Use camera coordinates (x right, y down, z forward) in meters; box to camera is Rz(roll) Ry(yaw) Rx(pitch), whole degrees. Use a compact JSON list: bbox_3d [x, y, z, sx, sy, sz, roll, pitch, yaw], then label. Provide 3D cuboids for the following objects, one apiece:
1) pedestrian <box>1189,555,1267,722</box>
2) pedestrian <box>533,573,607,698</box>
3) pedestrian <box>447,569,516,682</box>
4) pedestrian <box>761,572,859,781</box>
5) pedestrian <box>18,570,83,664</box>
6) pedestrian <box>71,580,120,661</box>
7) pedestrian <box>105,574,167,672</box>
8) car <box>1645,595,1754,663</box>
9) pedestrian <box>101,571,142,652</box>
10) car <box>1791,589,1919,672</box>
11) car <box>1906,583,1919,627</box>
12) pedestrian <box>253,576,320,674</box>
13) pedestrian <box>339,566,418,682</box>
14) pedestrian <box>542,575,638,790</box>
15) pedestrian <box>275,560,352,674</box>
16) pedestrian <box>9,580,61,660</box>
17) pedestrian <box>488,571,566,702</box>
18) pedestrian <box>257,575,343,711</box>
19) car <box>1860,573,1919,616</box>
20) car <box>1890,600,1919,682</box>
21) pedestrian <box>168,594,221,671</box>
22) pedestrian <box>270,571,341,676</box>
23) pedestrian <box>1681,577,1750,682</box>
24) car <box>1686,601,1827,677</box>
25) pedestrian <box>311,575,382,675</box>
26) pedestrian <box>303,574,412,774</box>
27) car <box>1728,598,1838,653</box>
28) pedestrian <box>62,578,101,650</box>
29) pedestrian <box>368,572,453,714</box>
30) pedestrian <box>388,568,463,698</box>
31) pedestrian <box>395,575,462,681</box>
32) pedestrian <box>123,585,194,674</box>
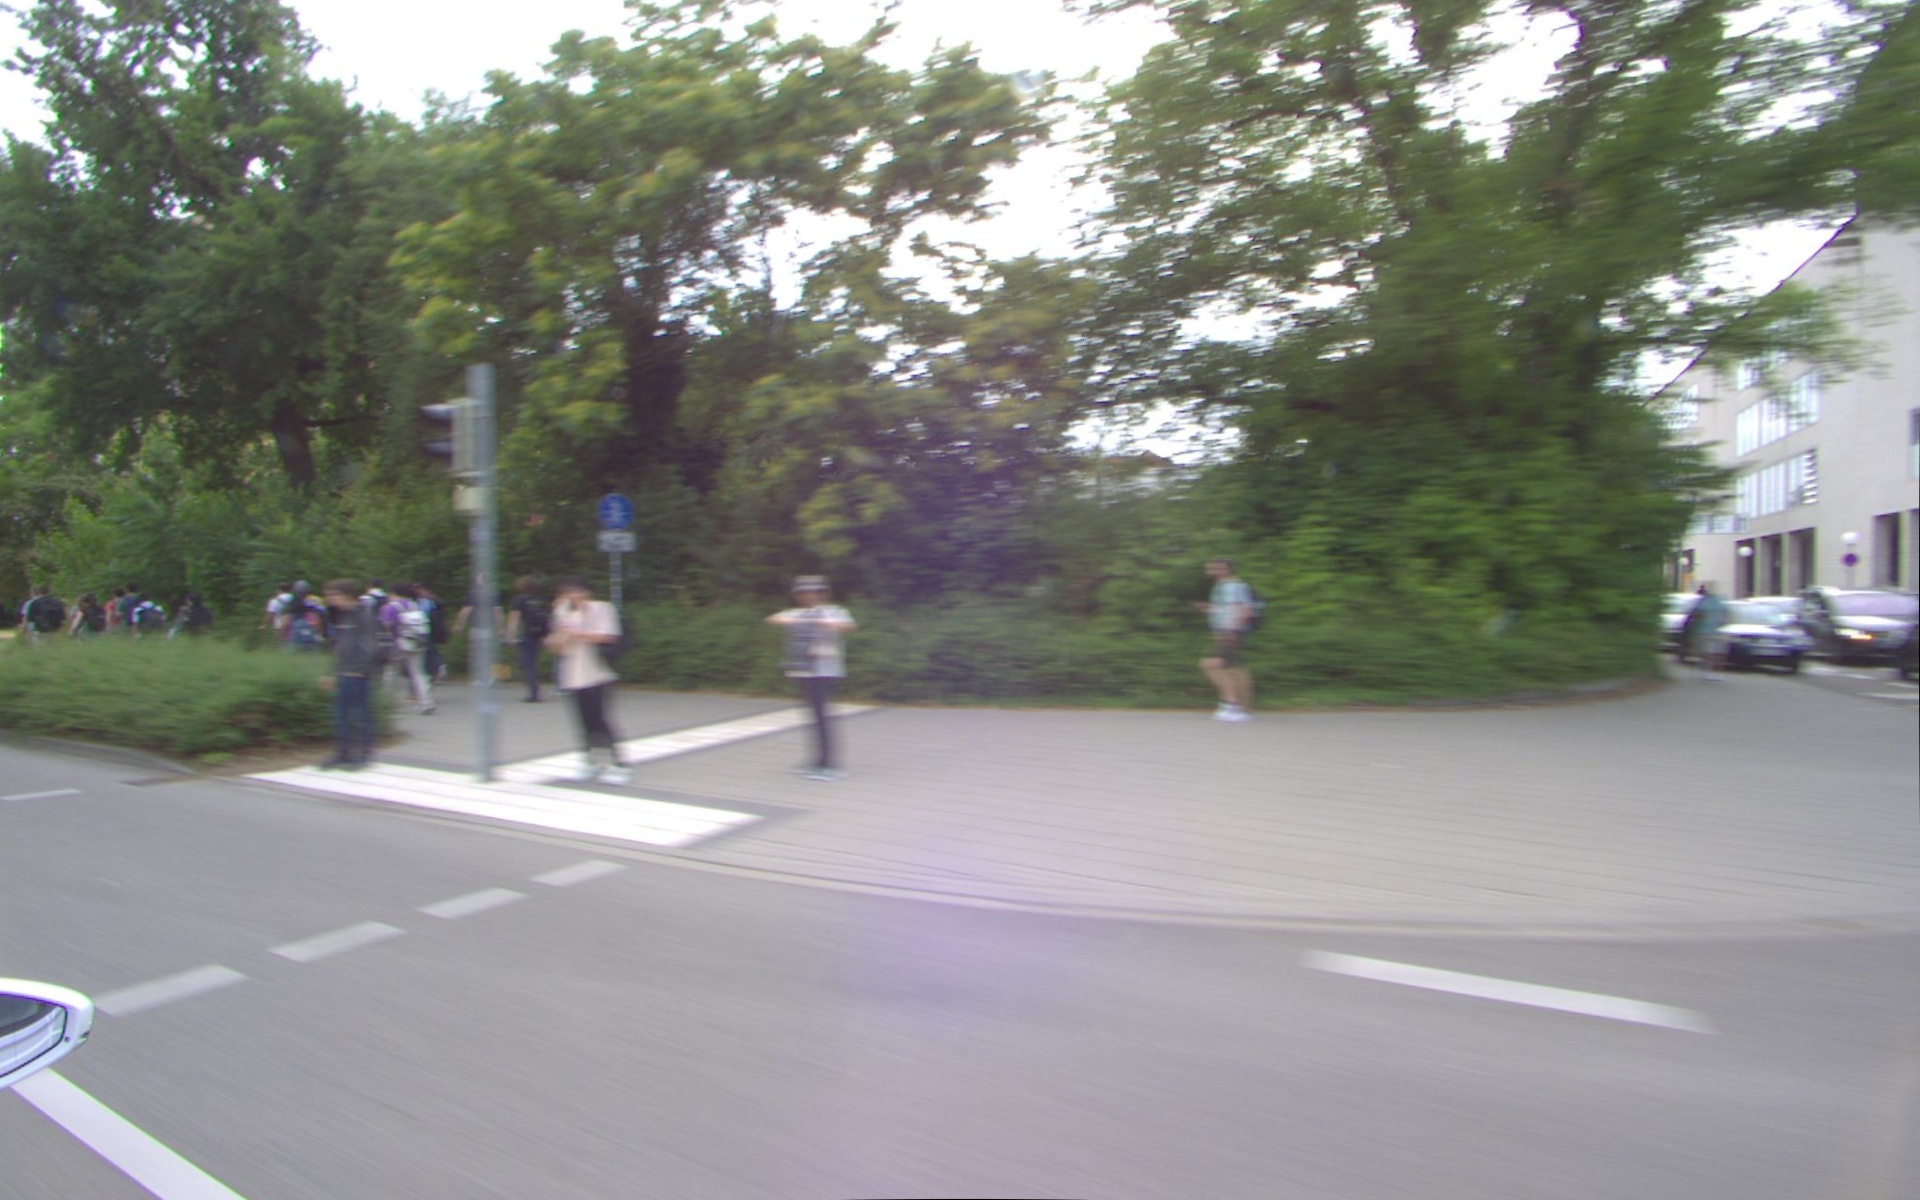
[{"bbox_3d":[3.037,0.422,11.322,0.728,1.819,0.644,0,1,28],"label":"pedestrian"},{"bbox_3d":[-5.694,0.504,14.640,0.768,1.768,0.656,0,1,28],"label":"pedestrian"},{"bbox_3d":[-7.705,0.393,16.138,0.768,1.768,0.656,0,1,28],"label":"pedestrian"},{"bbox_3d":[-1.283,0.629,8.579,0.627,1.709,0.545,0,1,28],"label":"pedestrian"},{"bbox_3d":[-18.356,0.329,20.206,0.940,1.846,0.692,0,1,30],"label":"pedestrian"},{"bbox_3d":[-18.395,0.428,21.306,0.742,1.677,0.555,0,1,30],"label":"pedestrian"},{"bbox_3d":[-15.904,0.435,19.333,0.800,1.846,0.655,0,1,30],"label":"pedestrian"},{"bbox_3d":[19.057,0.692,25.963,1.544,1.625,3.885,1,1,26],"label":"car"},{"bbox_3d":[-18.732,0.246,22.369,0.654,1.787,0.483,0,1,30],"label":"pedestrian"},{"bbox_3d":[20.519,0.638,22.718,1.657,1.714,4.278,-1,0,27],"label":"car"},{"bbox_3d":[34.931,0.159,34.962,1.648,1.587,3.975,-1,-1,26],"label":"car"},{"bbox_3d":[-12.492,0.454,18.579,0.800,1.768,0.720,0,1,30],"label":"pedestrian"},{"bbox_3d":[-9.313,0.371,16.044,0.943,1.790,0.656,0,2,28],"label":"pedestrian"},{"bbox_3d":[-3.151,0.678,8.531,0.627,1.758,0.453,0,1,28],"label":"pedestrian"},{"bbox_3d":[-9.833,0.253,15.228,0.799,1.670,0.656,0,1,28],"label":"pedestrian"},{"bbox_3d":[-20.617,0.441,22.328,0.802,1.759,0.618,0,1,30],"label":"pedestrian"},{"bbox_3d":[-6.047,0.489,13.996,0.768,1.768,0.656,0,1,28],"label":"pedestrian"},{"bbox_3d":[-8.869,0.556,13.465,0.768,1.768,0.656,0,1,28],"label":"pedestrian"},{"bbox_3d":[37.020,-0.210,39.128,1.725,1.587,3.975,-1,-1,26],"label":"car"},{"bbox_3d":[17.592,0.711,17.051,1.658,1.461,3.569,-1,-1,27],"label":"car"},{"bbox_3d":[-16.237,0.674,21.247,0.773,1.605,0.634,0,1,30],"label":"pedestrian"},{"bbox_3d":[-11.036,0.387,16.885,0.829,1.712,0.656,0,1,28],"label":"pedestrian"},{"bbox_3d":[13.869,0.536,18.408,0.718,1.876,0.800,0,1,11],"label":"pedestrian"},{"bbox_3d":[17.165,0.772,21.764,1.523,1.498,4.093,0,0,26],"label":"car"},{"bbox_3d":[-10.742,0.427,17.538,0.956,1.689,0.656,0,1,28],"label":"pedestrian"},{"bbox_3d":[-5.537,0.653,9.218,0.644,1.758,0.601,0,1,28],"label":"pedestrian"},{"bbox_3d":[23.552,0.710,28.783,1.657,1.461,3.769,-1,-1,27],"label":"car"},{"bbox_3d":[-20.481,0.315,23.344,0.643,1.655,0.467,0,1,30],"label":"pedestrian"},{"bbox_3d":[-7.109,0.538,12.962,0.768,1.768,0.623,0,1,28],"label":"pedestrian"},{"bbox_3d":[-7.494,0.454,14.046,0.777,1.768,0.580,0,1,28],"label":"pedestrian"},{"bbox_3d":[-8.816,0.451,16.613,0.768,1.722,0.656,0,1,28],"label":"pedestrian"},{"bbox_3d":[-14.907,0.533,18.636,0.800,1.624,0.774,0,1,30],"label":"pedestrian"}]
